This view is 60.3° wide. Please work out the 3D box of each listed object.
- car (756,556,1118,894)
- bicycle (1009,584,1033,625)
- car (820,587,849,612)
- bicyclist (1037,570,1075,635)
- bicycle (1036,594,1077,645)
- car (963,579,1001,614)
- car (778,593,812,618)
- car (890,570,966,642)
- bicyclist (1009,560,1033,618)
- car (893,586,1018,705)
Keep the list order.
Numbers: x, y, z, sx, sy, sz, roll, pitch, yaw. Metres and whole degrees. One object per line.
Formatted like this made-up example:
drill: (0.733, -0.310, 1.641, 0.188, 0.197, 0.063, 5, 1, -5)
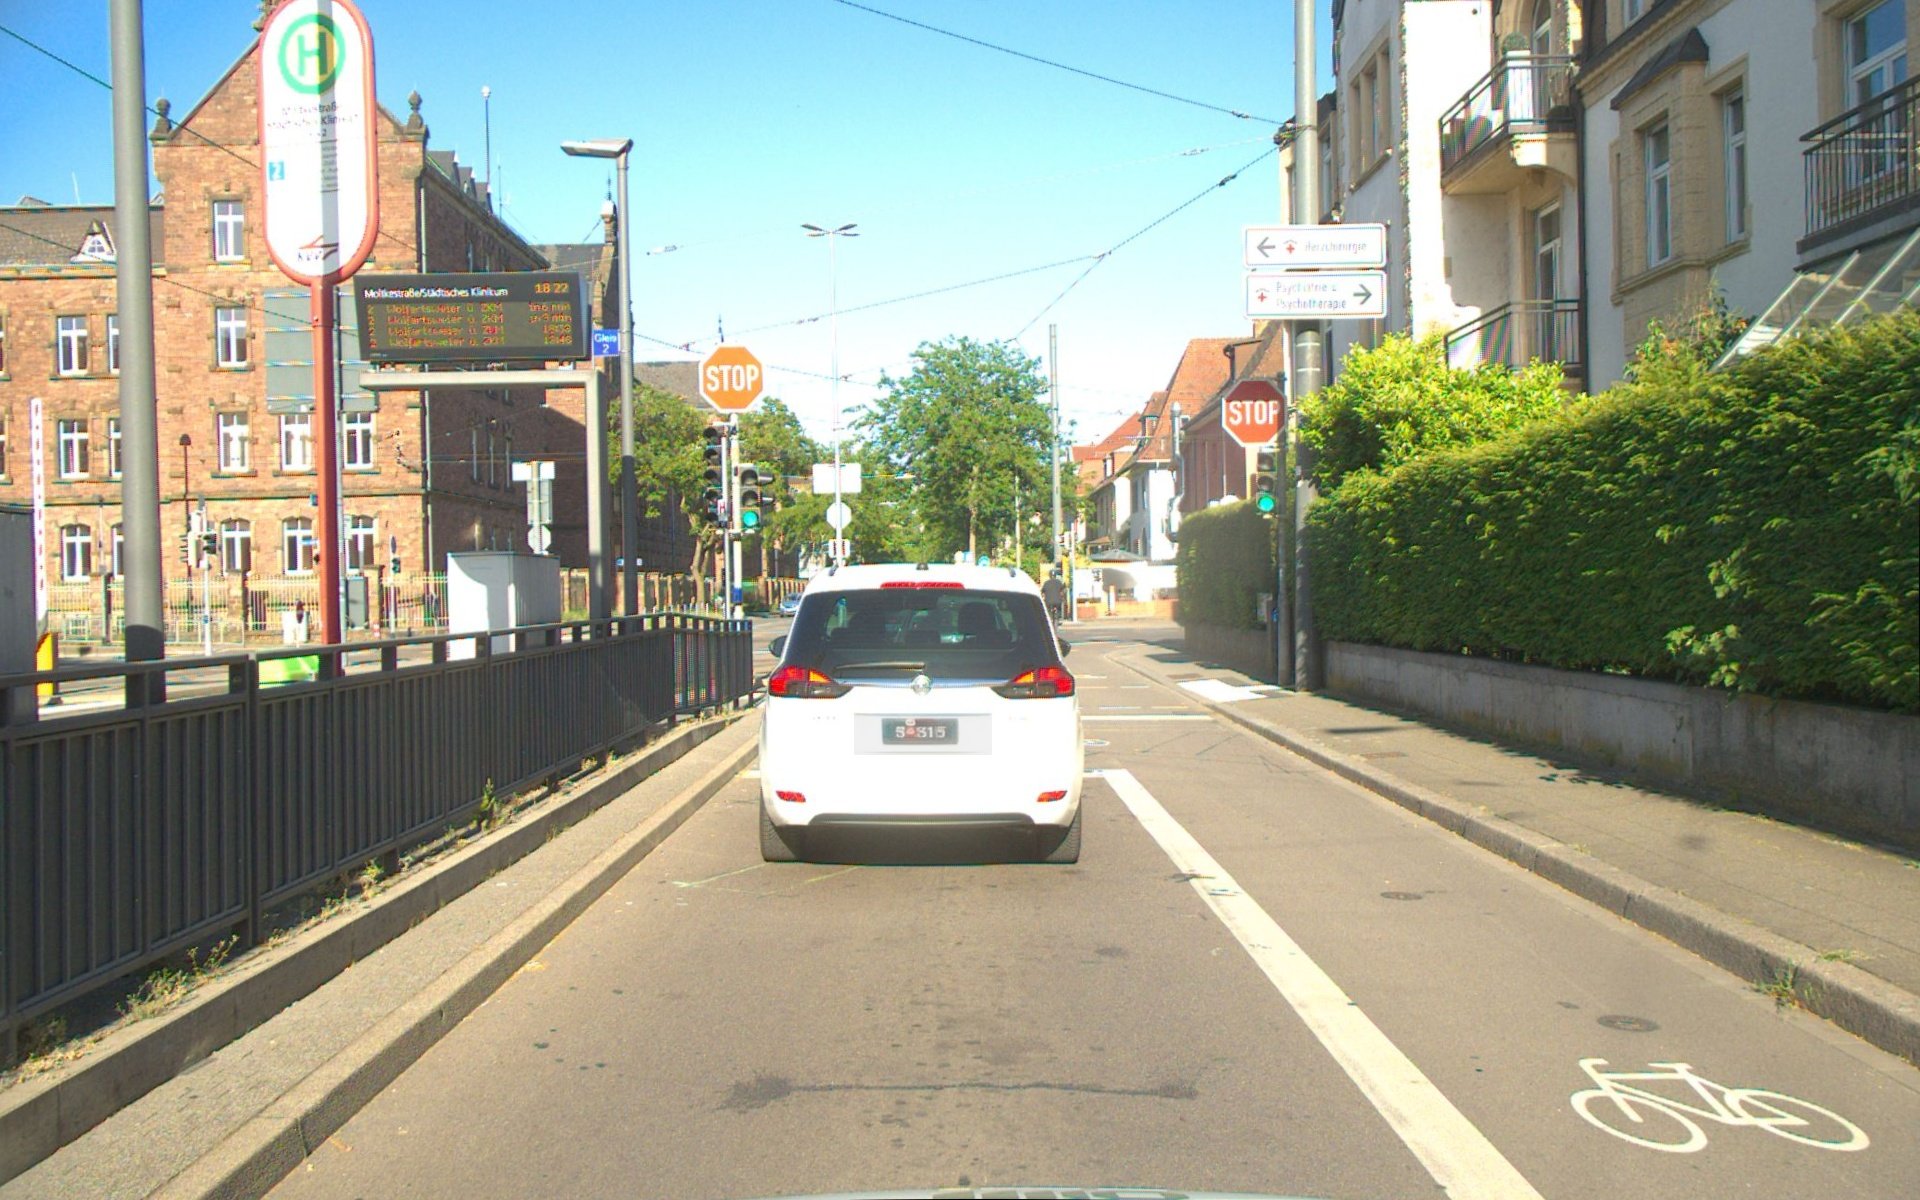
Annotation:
car: (-0.104, 0.626, 10.278, 1.797, 1.670, 3.919, -1, 0, 0)
bicycle: (1.793, 0.133, 48.626, 0.671, 1.177, 1.620, -1, 0, 2)
car: (-9.220, -0.028, 121.851, 1.854, 1.815, 3.880, -1, 0, -1)
bicyclist: (2.289, 0.054, 39.501, 0.804, 1.528, 0.934, -1, 0, -1)
bicycle: (2.300, 0.453, 39.542, 0.812, 1.175, 2.094, -1, 0, -1)
car: (1.089, -0.177, 80.223, 1.739, 1.660, 3.882, -1, 0, 2)
car: (-10.033, 0.348, 100.833, 1.548, 1.466, 3.585, -1, 0, 2)
car: (-0.750, 0.142, 40.636, 1.739, 1.660, 3.880, -1, 0, 0)
bicyclist: (1.781, -0.323, 48.637, 0.671, 1.663, 1.016, -1, 0, 2)
car: (0.002, 0.563, 23.066, 1.553, 1.445, 3.901, -2, 1, 2)
